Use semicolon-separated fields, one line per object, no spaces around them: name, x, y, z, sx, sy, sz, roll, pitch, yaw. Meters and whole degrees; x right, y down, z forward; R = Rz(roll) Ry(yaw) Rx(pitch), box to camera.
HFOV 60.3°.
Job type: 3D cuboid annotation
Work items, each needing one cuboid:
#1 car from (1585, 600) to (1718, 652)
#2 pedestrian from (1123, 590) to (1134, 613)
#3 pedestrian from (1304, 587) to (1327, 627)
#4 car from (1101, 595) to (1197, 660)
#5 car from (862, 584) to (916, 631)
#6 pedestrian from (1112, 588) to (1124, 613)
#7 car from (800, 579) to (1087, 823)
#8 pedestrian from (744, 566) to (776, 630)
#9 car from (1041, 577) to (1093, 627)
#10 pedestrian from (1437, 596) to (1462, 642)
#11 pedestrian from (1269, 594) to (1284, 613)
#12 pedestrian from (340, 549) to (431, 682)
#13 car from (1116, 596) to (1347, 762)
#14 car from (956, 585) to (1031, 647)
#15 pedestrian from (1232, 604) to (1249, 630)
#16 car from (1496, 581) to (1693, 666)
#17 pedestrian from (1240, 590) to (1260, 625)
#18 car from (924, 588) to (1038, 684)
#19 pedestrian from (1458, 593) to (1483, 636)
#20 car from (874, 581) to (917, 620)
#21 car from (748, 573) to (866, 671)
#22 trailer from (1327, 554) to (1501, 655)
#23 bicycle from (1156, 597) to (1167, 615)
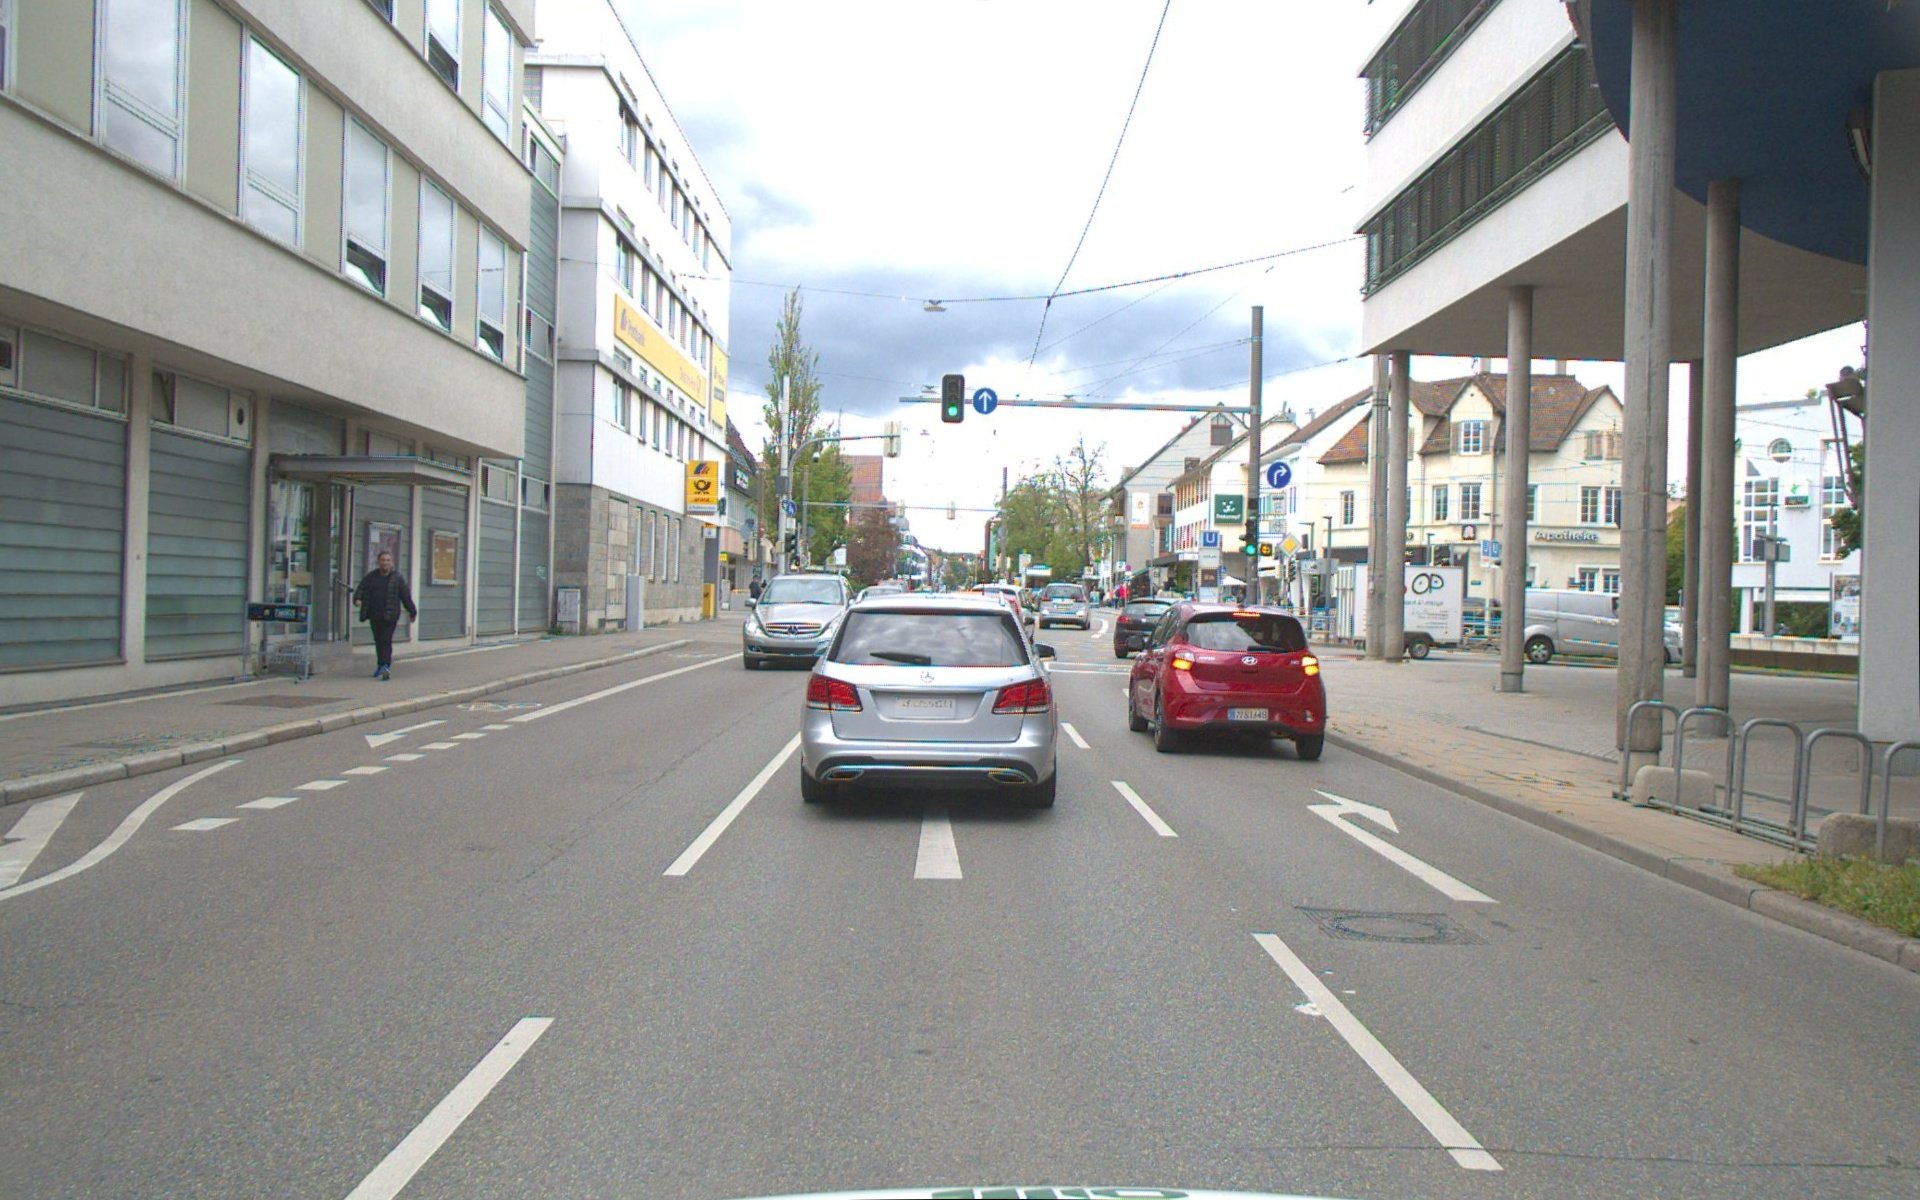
car;28.546;1.054;68.387;1.971;1.952;4.716;3;-1;-39
pedestrian;11.390;0.085;111.774;0.567;1.495;0.650;2;0;-6
pedestrian;15.437;0.299;71.809;0.694;1.748;0.644;1;0;-26
car;4.616;0.615;39.961;1.697;1.435;4.003;1;1;15
car;-2.334;0.239;54.972;1.623;1.492;3.920;1;0;0
pedestrian;10.949;0.023;114.807;0.568;1.695;0.648;2;0;-14
car;-0.192;0.633;12.650;1.809;1.534;4.169;1;0;-3
pedestrian;-5.537;-0.058;45.818;0.634;1.748;0.783;2;0;6
car;3.964;0.069;61.815;1.698;1.790;4.000;1;0;1
pedestrian;18.896;0.717;63.852;0.696;1.748;0.642;1;0;-35
pedestrian;19.981;0.206;104.473;0.721;1.184;0.642;2;0;-3
pedestrian;-7.844;0.205;22.633;0.844;1.748;1.031;2;0;-3
car;2.805;0.756;17.912;1.664;1.477;3.999;3;0;-2
car;0.839;0.386;43.841;1.699;1.534;3.998;1;0;-3
pedestrian;17.844;1.069;105.108;0.631;1.619;0.893;2;0;-20
car;17.089;0.618;44.801;4.788;1.979;1.885;3;0;17
pedestrian;14.477;0.369;82.522;0.824;1.748;0.727;1;0;-4
car;0.307;0.587;29.365;1.700;1.534;3.997;2;0;-3
pedestrian;21.129;0.588;68.489;0.772;1.748;0.648;3;1;30
car;-2.914;0.011;75.074;1.762;1.724;3.897;1;0;0
car;-2.761;0.356;30.772;1.739;1.660;4.768;1;0;0
trailer;12.466;0.126;45.545;4.225;2.659;1.882;1;0;-6
bicycle;12.622;0.370;103.706;0.438;1.127;2.149;1;0;0
